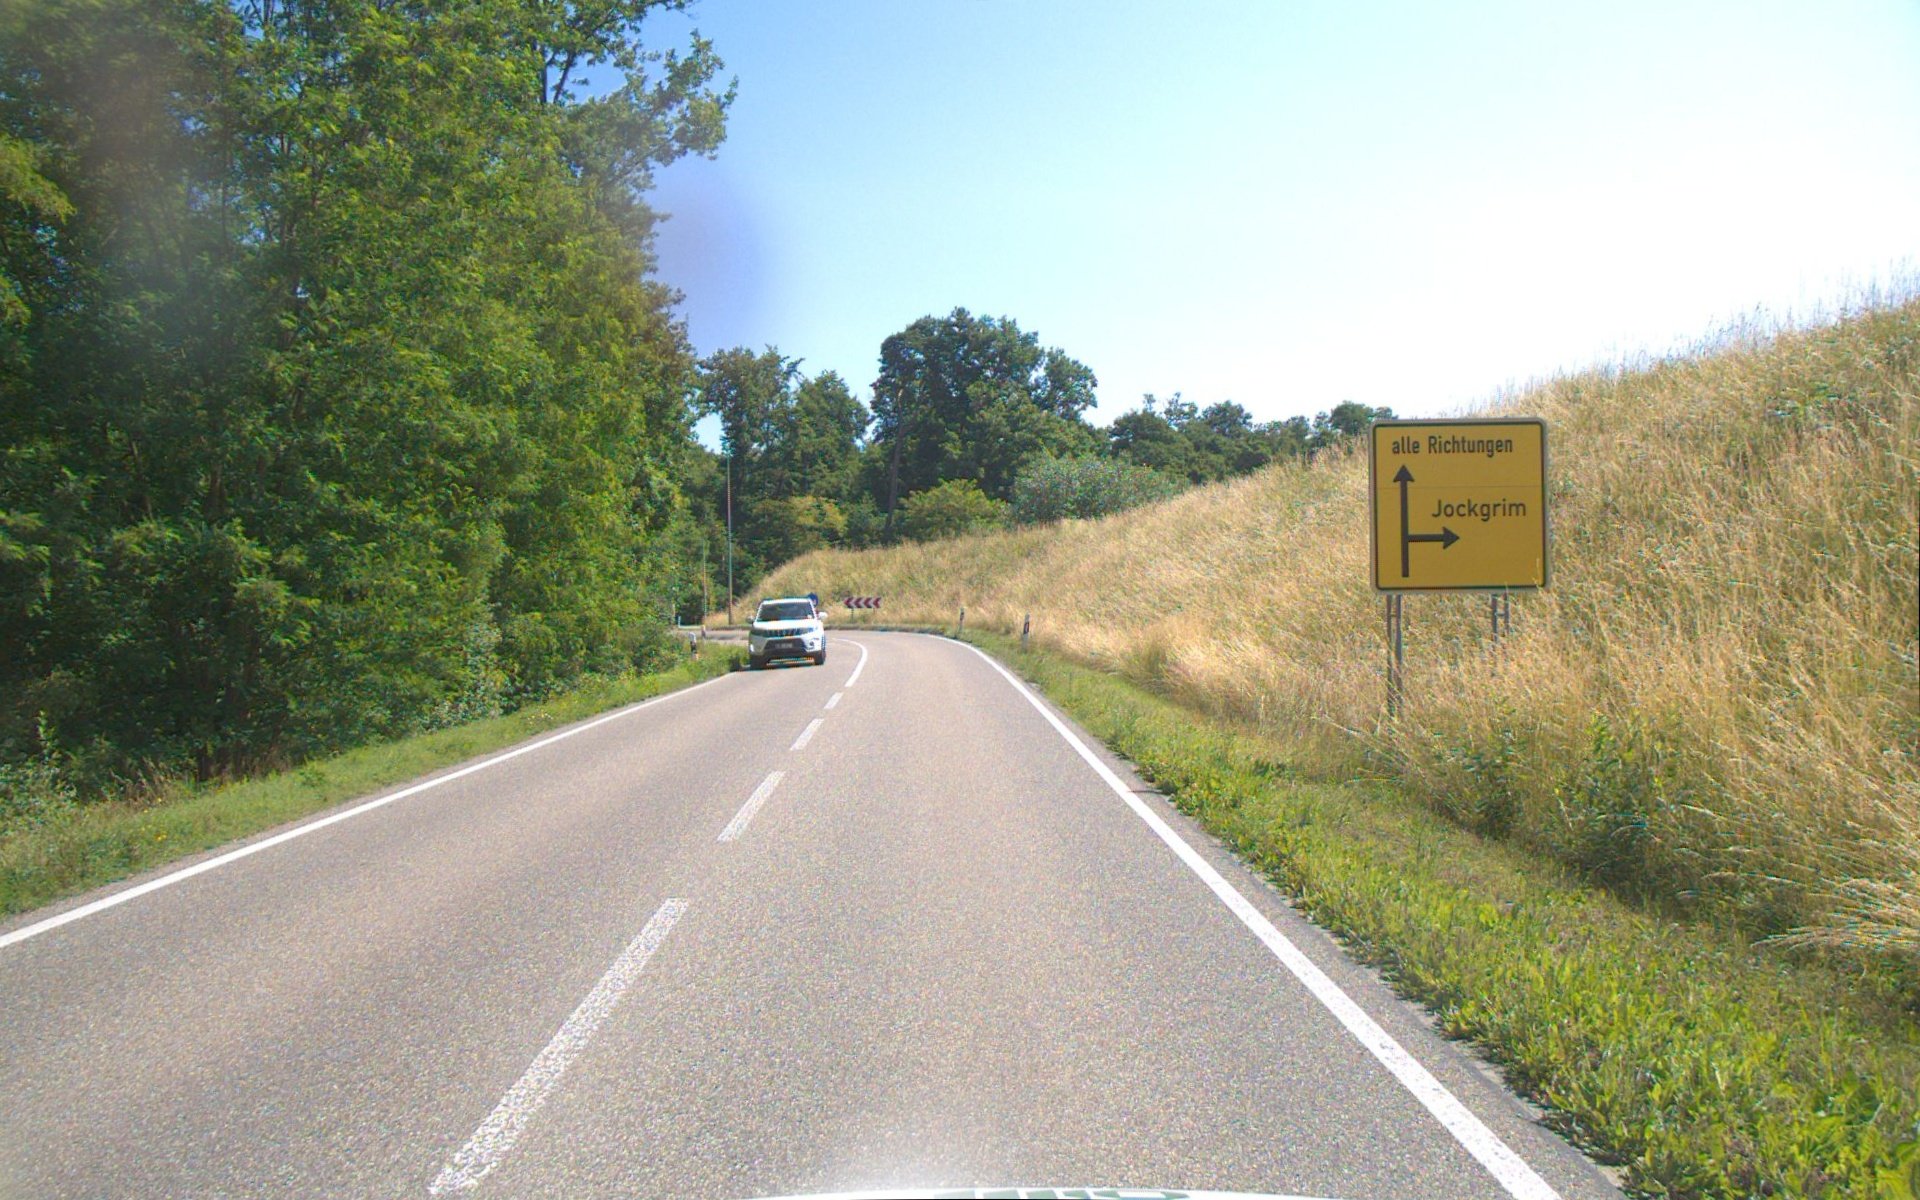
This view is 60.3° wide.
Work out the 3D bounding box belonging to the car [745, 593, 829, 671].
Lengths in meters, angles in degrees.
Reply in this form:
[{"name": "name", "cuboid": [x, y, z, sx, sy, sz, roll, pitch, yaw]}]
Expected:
[{"name": "car", "cuboid": [-4.167, 0.731, 40.315, 1.774, 1.706, 3.997, -4, 0, -4]}]
